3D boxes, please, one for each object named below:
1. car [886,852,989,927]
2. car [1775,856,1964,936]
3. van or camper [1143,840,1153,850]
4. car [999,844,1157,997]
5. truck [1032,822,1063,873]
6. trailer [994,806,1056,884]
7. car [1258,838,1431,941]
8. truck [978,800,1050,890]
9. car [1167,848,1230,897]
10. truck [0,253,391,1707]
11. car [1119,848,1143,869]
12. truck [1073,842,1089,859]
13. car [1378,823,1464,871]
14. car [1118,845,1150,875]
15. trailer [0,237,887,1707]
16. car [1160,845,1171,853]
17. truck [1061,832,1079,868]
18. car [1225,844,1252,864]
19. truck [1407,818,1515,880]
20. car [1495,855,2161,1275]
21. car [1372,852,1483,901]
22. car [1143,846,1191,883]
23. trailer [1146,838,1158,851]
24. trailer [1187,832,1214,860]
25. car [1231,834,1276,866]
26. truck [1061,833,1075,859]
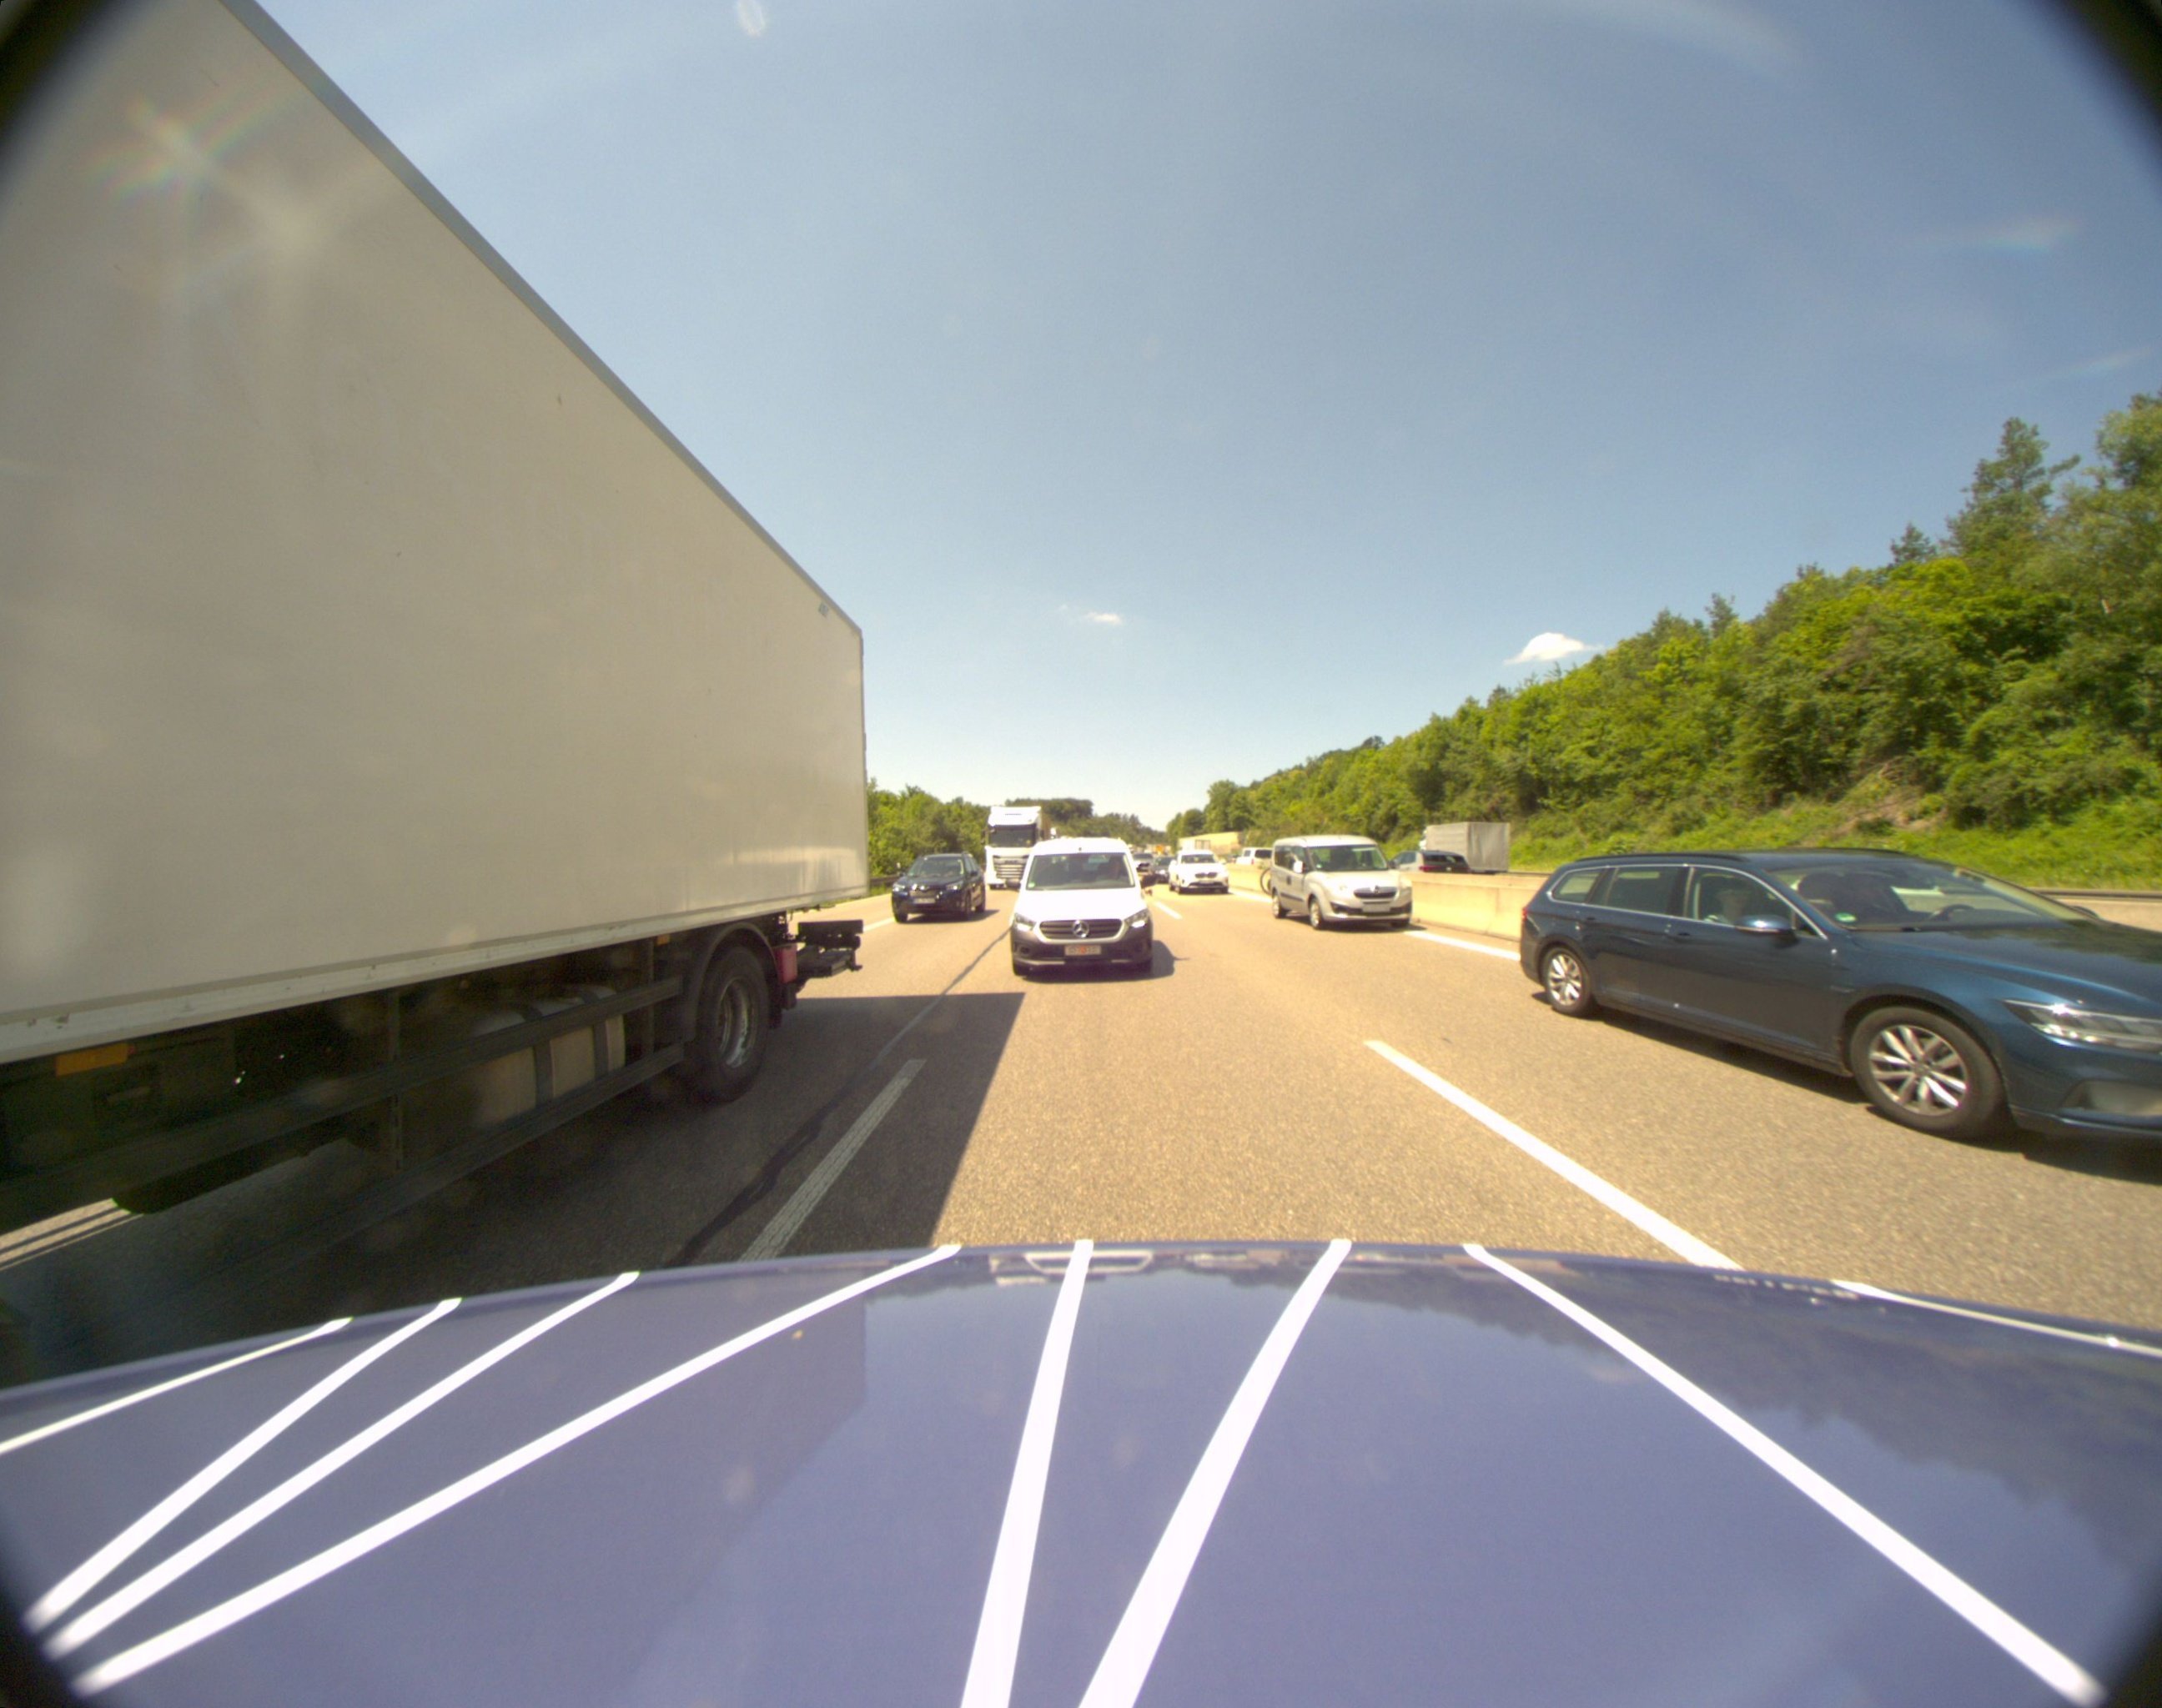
[{"bbox_3d":[-3.648,0.836,20.144,1.999,1.682,4.609,0,1,-2],"label":"car"},{"bbox_3d":[22.588,1.117,21.988,1.856,2.002,3.512,-2,1,1],"label":"car"},{"bbox_3d":[17.185,-2.346,195.357,1.998,2.371,4.808,4,1,2],"label":"van or camper"},{"bbox_3d":[-0.004,0.740,10.890,1.756,1.681,4.363,-2,1,1],"label":"car"},{"bbox_3d":[-3.072,-0.546,71.843,2.394,4.437,10.868,-1,0,-1],"label":"truck"},{"bbox_3d":[-3.099,-0.582,45.613,2.766,4.061,11.615,0,1,0],"label":"trailer"},{"bbox_3d":[5.204,0.586,15.829,1.857,1.762,4.916,-2,1,0],"label":"car"},{"bbox_3d":[-3.202,-0.485,38.381,2.766,4.061,7.333,-2,1,1],"label":"truck"},{"bbox_3d":[4.501,0.647,29.631,1.824,1.696,3.999,-2,1,0],"label":"car"},{"bbox_3d":[-3.406,0.308,0.222,2.562,2.924,4.103,-1,1,0],"label":"truck"},{"bbox_3d":[5.084,0.410,77.401,1.999,2.002,3.998,-2,1,-2],"label":"car"},{"bbox_3d":[-0.097,-0.894,204.358,4.084,4.403,11.396,-2,0,-1],"label":"truck"},{"bbox_3d":[15.459,-0.345,34.849,1.998,2.002,4.418,-2,1,1],"label":"car"},{"bbox_3d":[3.615,0.430,52.399,1.998,2.002,4.000,-1,0,1],"label":"car"},{"bbox_3d":[-3.405,0.240,4.265,2.562,2.882,7.881,-2,0,0],"label":"trailer"},{"bbox_3d":[21.533,-1.377,193.791,2.119,2.002,4.476,-2,1,-2],"label":"car"},{"bbox_3d":[-1.415,-0.488,101.375,2.187,4.437,10.868,-1,0,-1],"label":"truck"},{"bbox_3d":[15.336,-0.016,74.163,1.788,1.827,4.292,-2,1,0],"label":"car"},{"bbox_3d":[19.406,-0.282,39.284,2.183,2.868,6.741,-2,1,0],"label":"truck"},{"bbox_3d":[4.947,0.788,5.026,1.879,1.442,4.677,-2,1,0],"label":"car"},{"bbox_3d":[11.384,0.683,25.282,1.829,1.486,3.999,-1,0,-1],"label":"car"},{"bbox_3d":[4.464,0.501,40.100,1.999,1.747,3.999,-2,1,-1],"label":"car"},{"bbox_3d":[23.097,-3.166,247.272,3.005,3.850,11.397,-2,1,0],"label":"trailer"},{"bbox_3d":[20.454,-1.393,130.663,2.956,4.456,10.814,-2,1,0],"label":"trailer"},{"bbox_3d":[11.726,-0.308,51.904,1.998,2.002,4.956,-2,1,1],"label":"car"},{"bbox_3d":[-2.095,-1.183,124.894,2.187,4.073,10.868,-1,0,-1],"label":"truck"}]
